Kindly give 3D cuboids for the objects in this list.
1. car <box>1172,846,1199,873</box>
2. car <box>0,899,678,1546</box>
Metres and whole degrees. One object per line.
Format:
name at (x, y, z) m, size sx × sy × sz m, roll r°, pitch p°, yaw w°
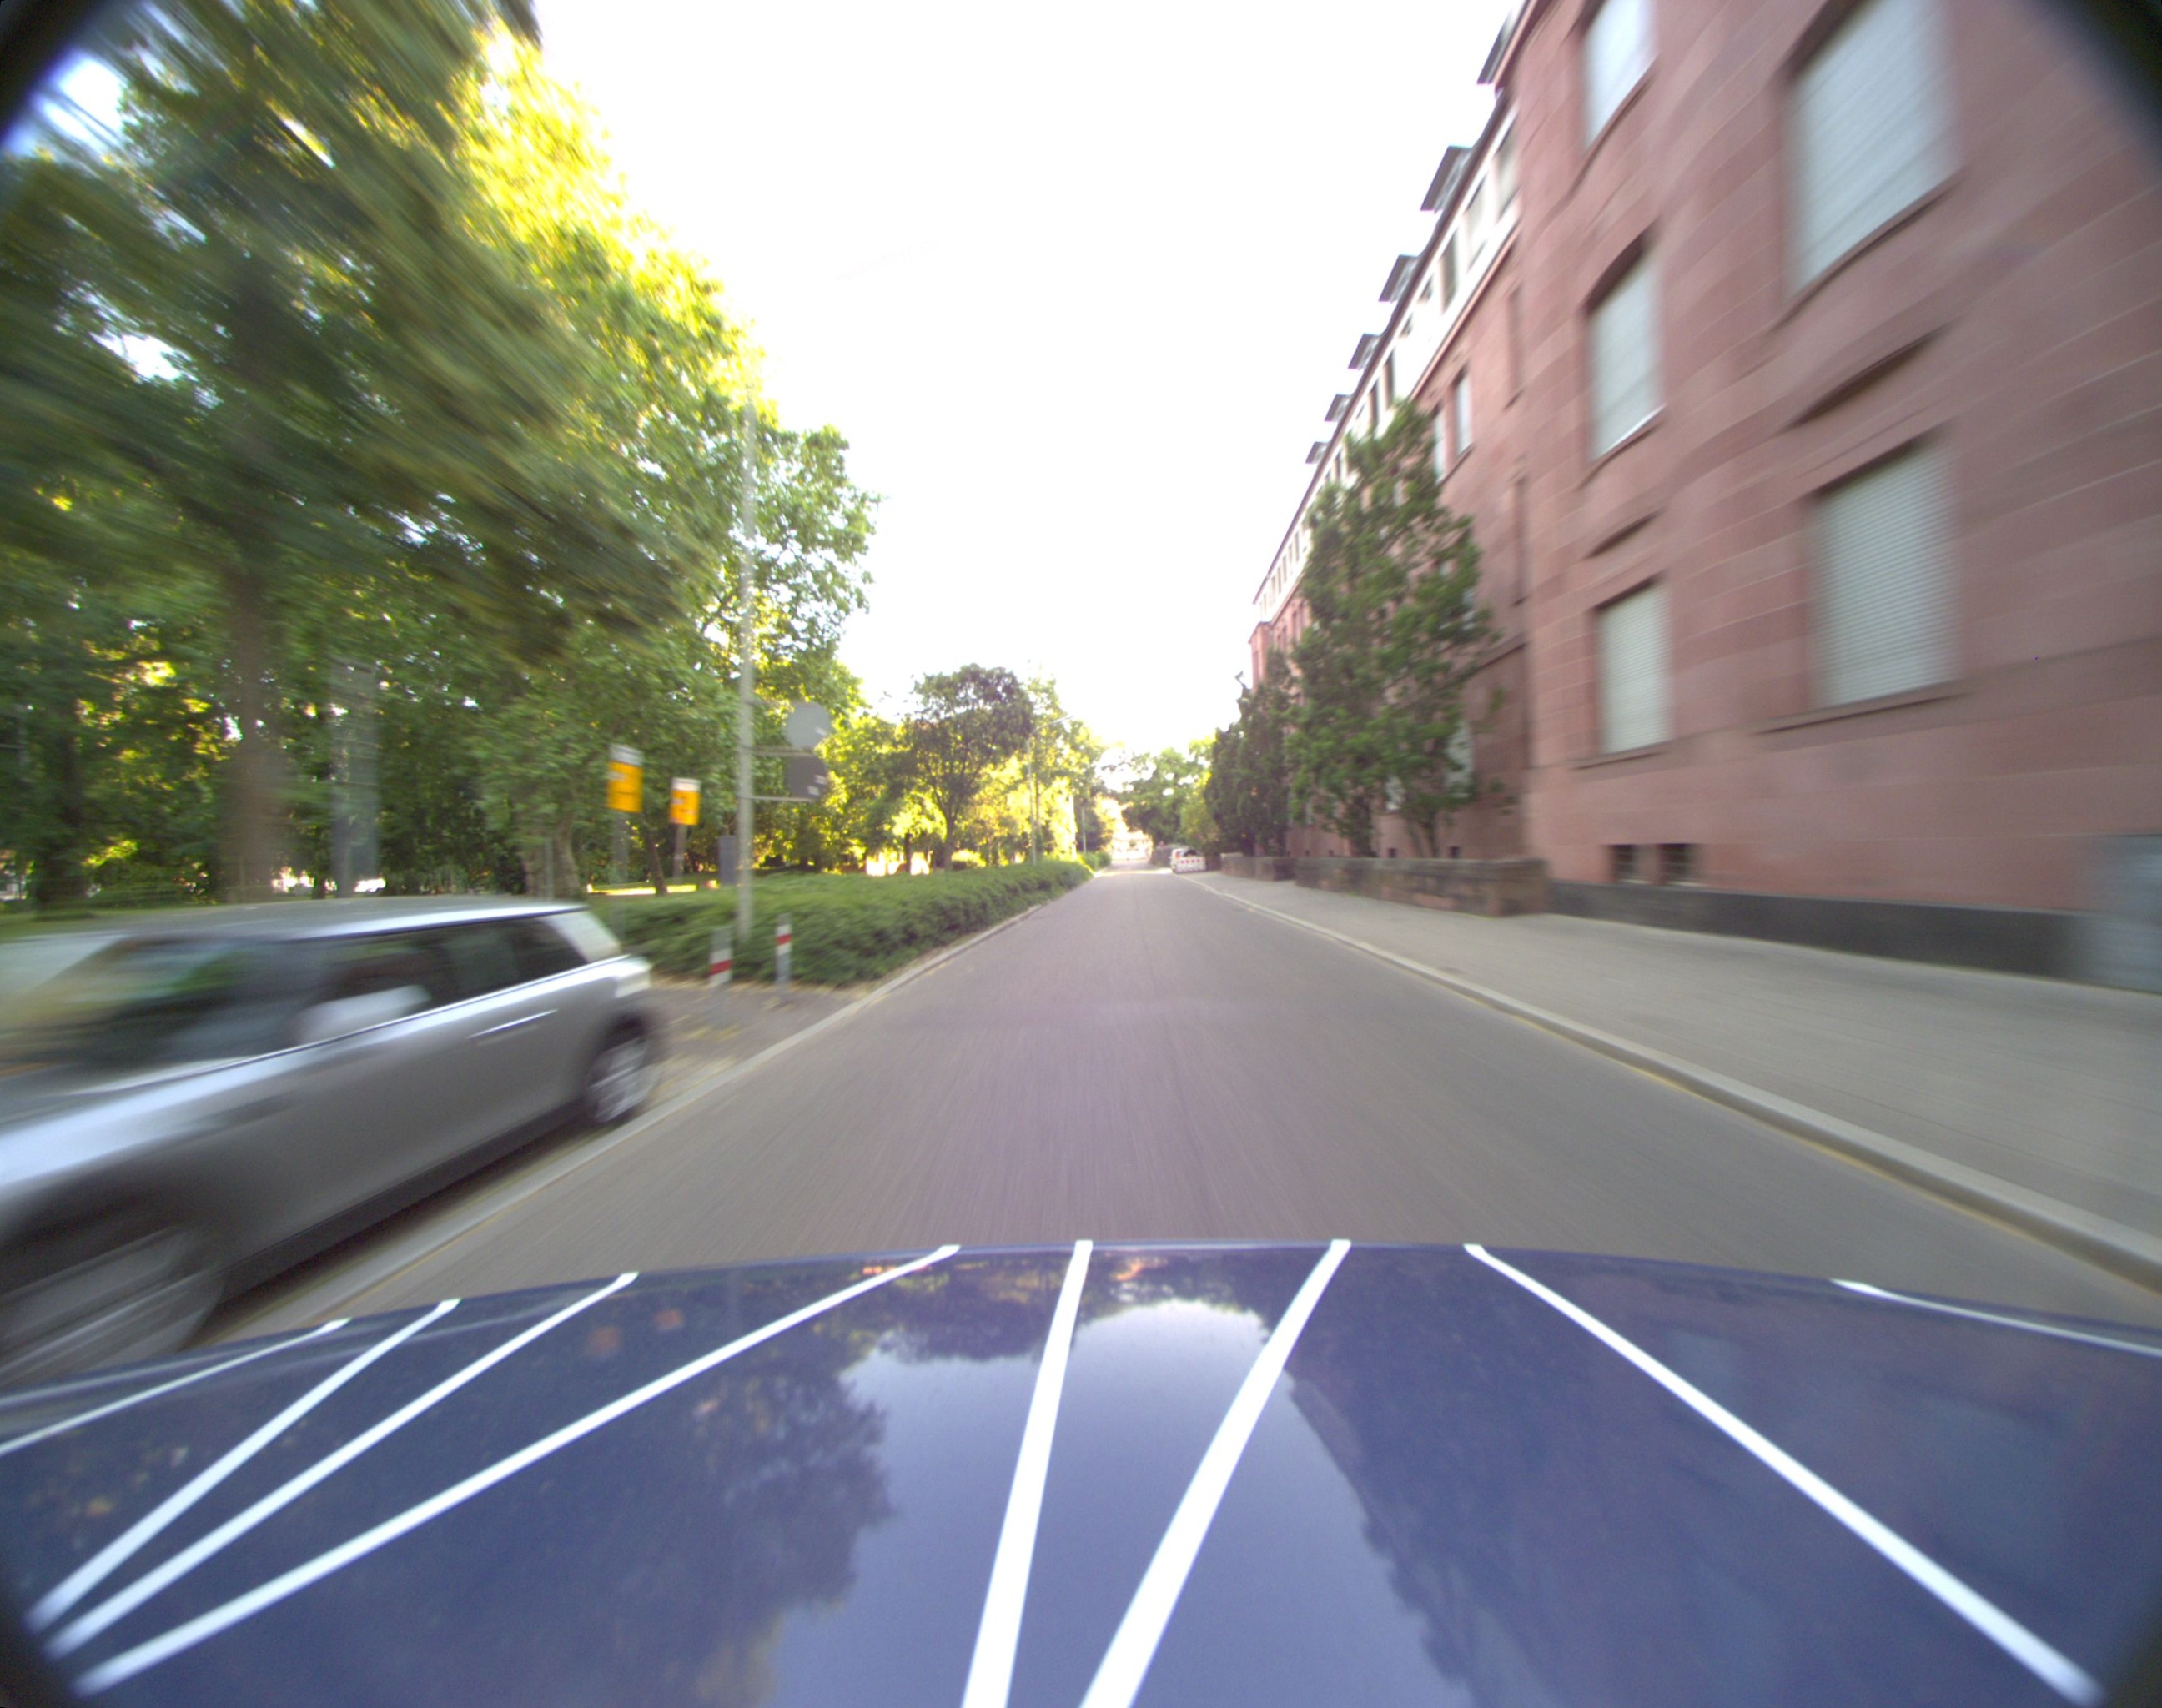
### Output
car at (8.500, 0.442, 62.011) m, size 1.886 × 2.040 × 4.325 m, roll -1°, pitch 1°, yaw 4°
car at (-3.649, 1.075, 3.120) m, size 1.728 × 1.430 × 3.999 m, roll -2°, pitch 1°, yaw 1°
